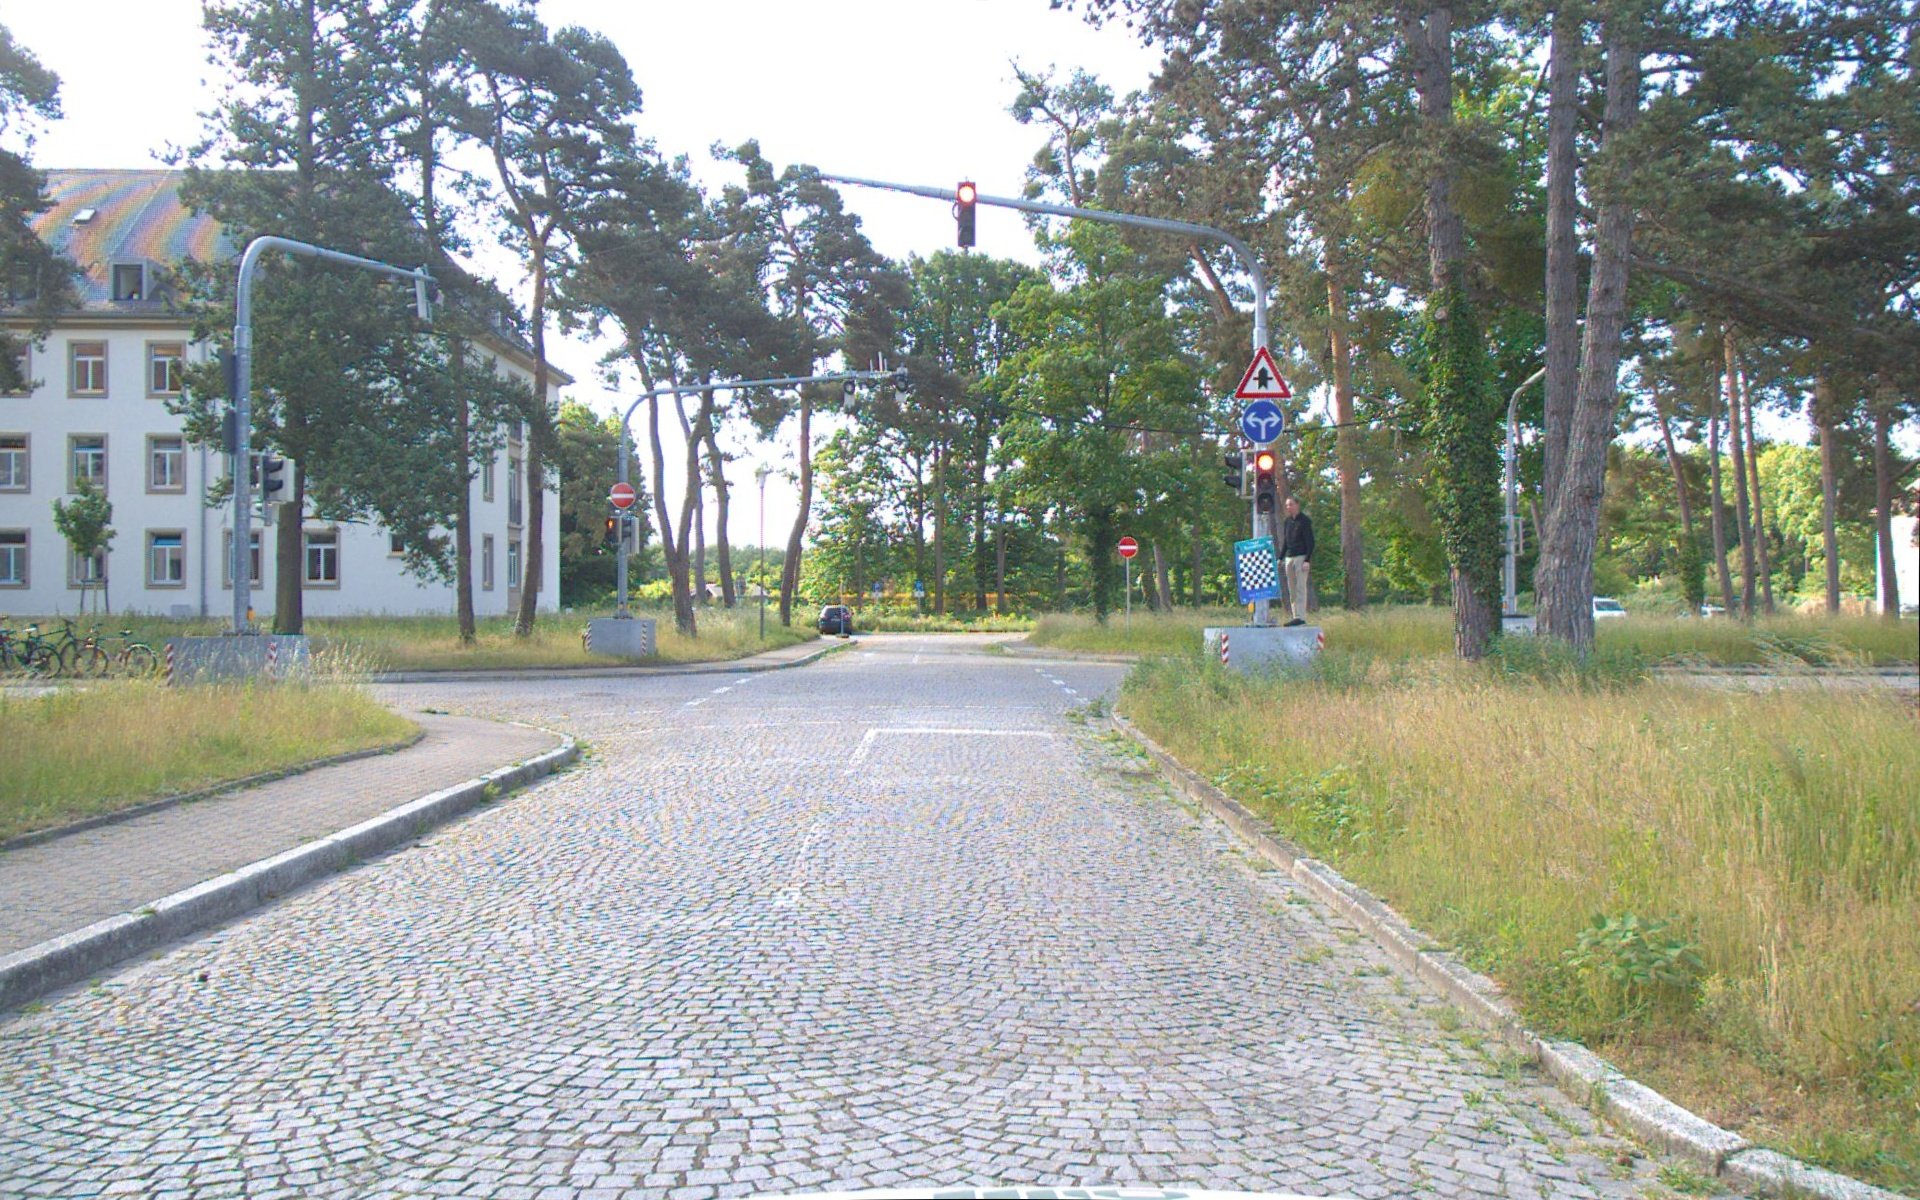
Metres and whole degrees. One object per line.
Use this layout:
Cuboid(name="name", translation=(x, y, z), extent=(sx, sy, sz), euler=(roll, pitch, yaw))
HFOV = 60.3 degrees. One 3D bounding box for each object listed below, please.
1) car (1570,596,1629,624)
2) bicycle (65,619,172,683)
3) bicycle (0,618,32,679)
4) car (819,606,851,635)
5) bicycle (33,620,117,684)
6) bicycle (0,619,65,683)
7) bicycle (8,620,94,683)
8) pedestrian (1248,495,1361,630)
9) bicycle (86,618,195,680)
Cuboid(name="car", translation=(37.619, 0.604, 97.433), extent=(1.790, 1.609, 4.162), euler=(0, 0, -1))
Cuboid(name="bicycle", translation=(-16.897, 1.016, 33.228), extent=(1.824, 1.242, 0.635), euler=(0, 0, -1))
Cuboid(name="bicycle", translation=(-20.065, 1.010, 34.288), extent=(0.560, 1.242, 1.989), euler=(0, 0, -1))
Cuboid(name="car", translation=(-6.833, 1.124, 90.766), extent=(1.675, 1.522, 3.916), euler=(0, 0, -3))
Cuboid(name="bicycle", translation=(-18.148, 1.041, 33.955), extent=(0.620, 1.242, 2.113), euler=(0, 0, -1))
Cuboid(name="bicycle", translation=(-19.217, 1.024, 33.925), extent=(0.620, 1.242, 2.104), euler=(0, 0, -1))
Cuboid(name="bicycle", translation=(-18.623, 1.034, 33.934), extent=(0.620, 1.242, 2.123), euler=(0, 0, -1))
Cuboid(name="pedestrian", translation=(4.846, -0.513, 23.288), extent=(1.052, 1.827, 1.156), euler=(-1, 0, -39))
Cuboid(name="bicycle", translation=(-16.809, 0.998, 33.945), extent=(1.905, 1.242, 0.635), euler=(0, 0, -1))
